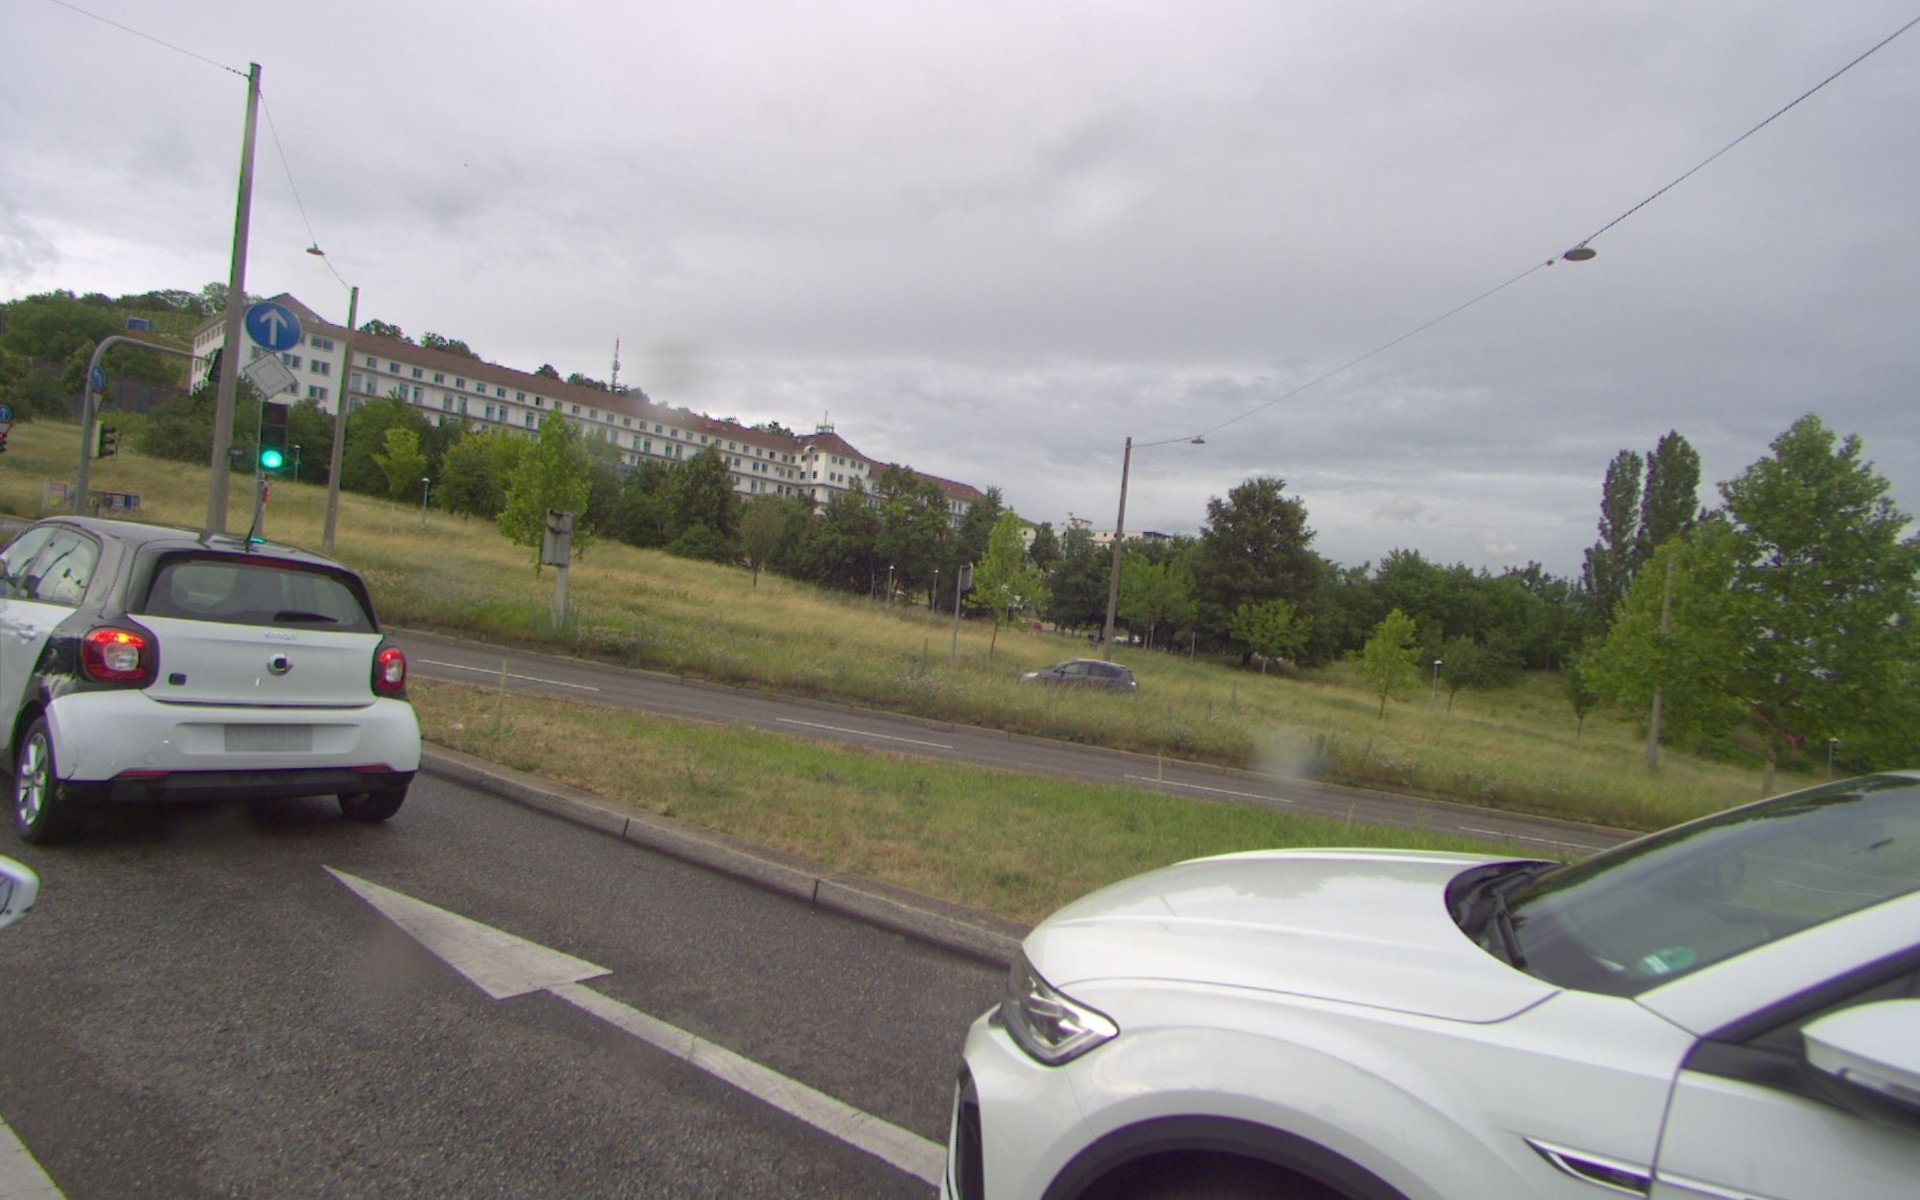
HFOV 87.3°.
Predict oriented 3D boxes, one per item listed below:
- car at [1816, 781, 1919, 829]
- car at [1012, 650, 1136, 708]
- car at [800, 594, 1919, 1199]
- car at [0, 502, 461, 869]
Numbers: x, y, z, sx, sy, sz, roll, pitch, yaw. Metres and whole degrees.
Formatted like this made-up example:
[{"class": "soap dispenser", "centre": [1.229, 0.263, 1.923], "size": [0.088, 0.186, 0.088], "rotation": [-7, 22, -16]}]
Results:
[{"class": "car", "centre": [41.653, 9.402, 46.138], "size": [3.901, 1.424, 1.597], "rotation": [10, -3, -14]}, {"class": "car", "centre": [4.052, 2.830, 36.094], "size": [3.895, 1.554, 1.998], "rotation": [7, -2, -11]}, {"class": "car", "centre": [1.951, 1.023, 1.694], "size": [4.156, 1.571, 1.718], "rotation": [6, -2, 28]}, {"class": "car", "centre": [-4.692, 0.330, 5.879], "size": [3.397, 1.520, 1.659], "rotation": [5, -2, 36]}]
